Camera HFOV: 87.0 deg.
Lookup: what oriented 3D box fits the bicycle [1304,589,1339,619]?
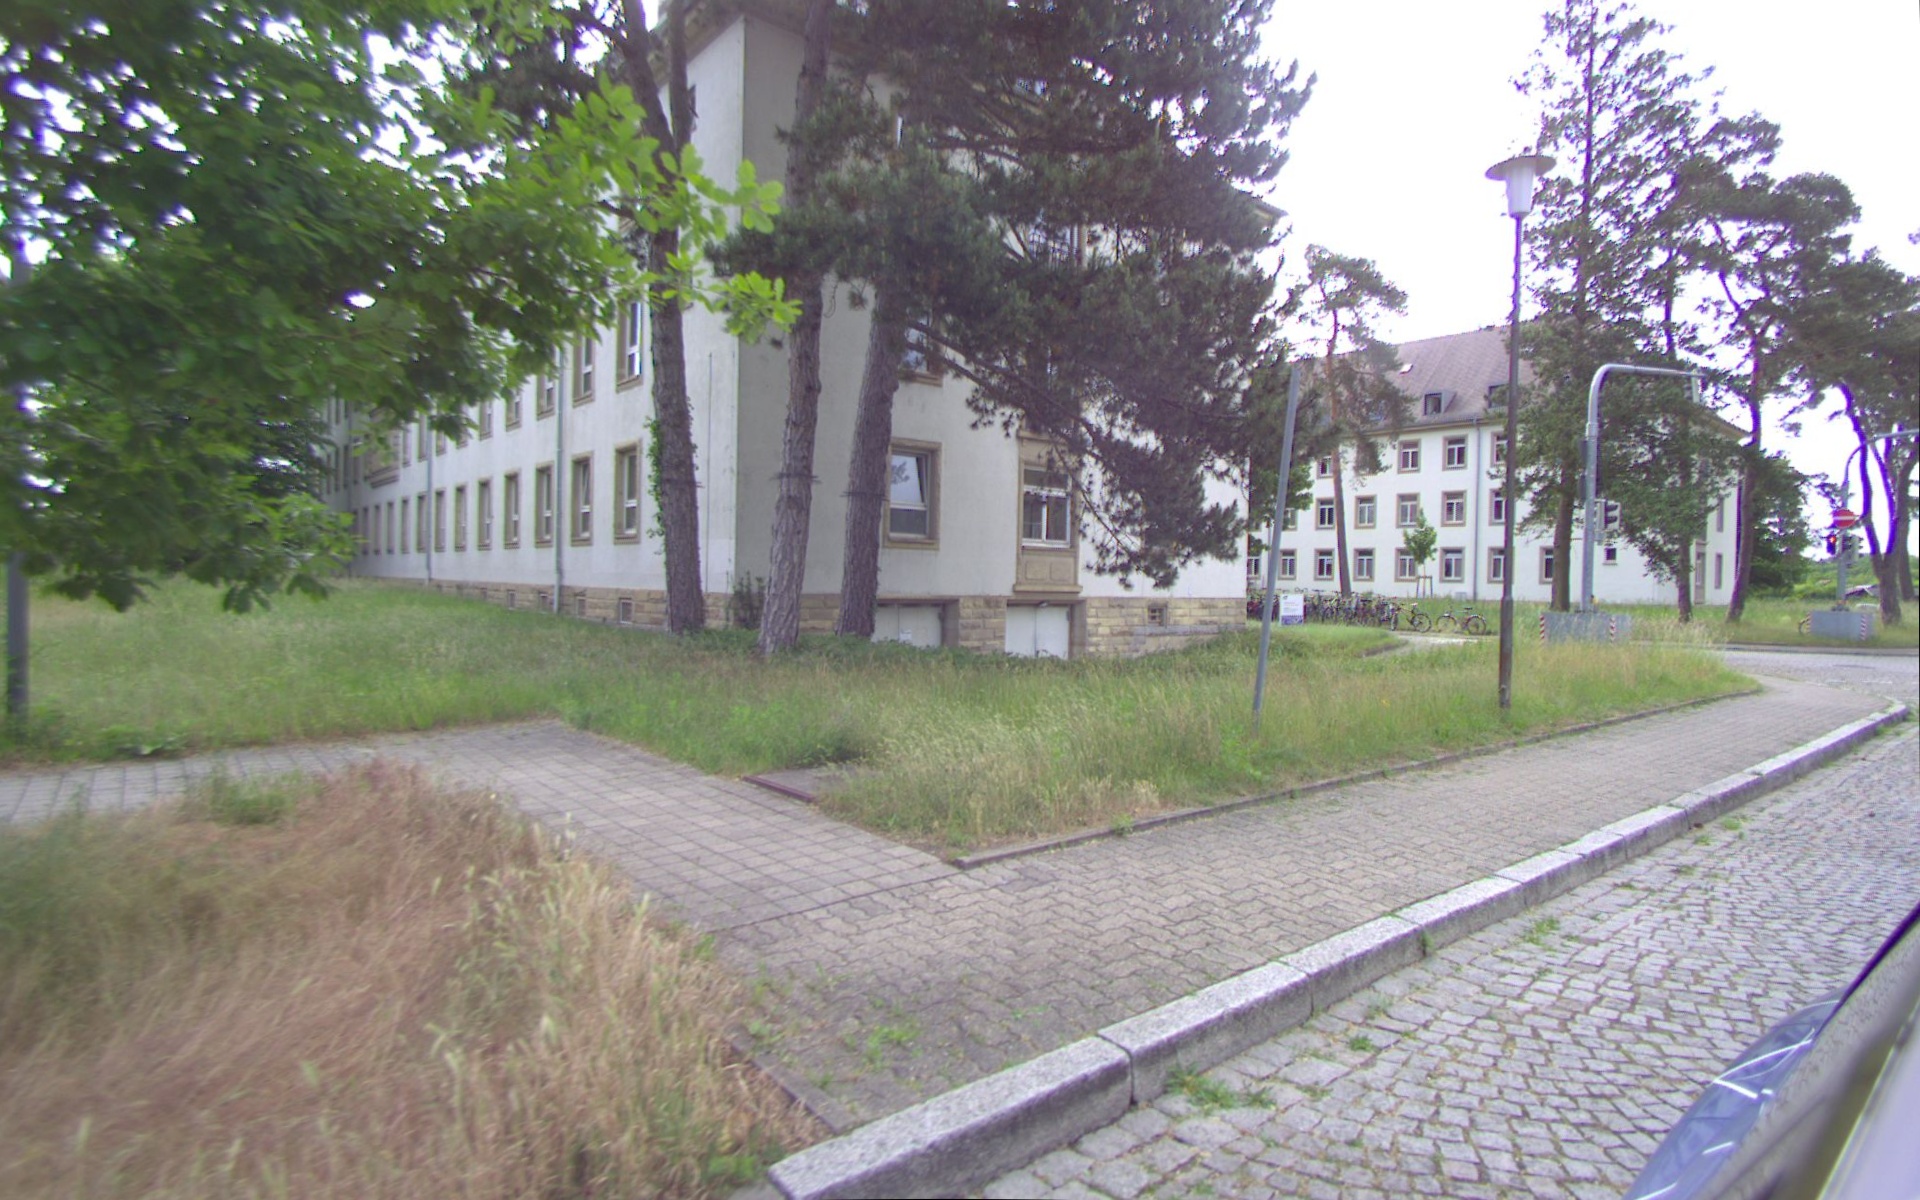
[{"bbox_3d":[14.365,0.148,40.183,1.699,1.142,0.448,0,1,-37],"label":"bicycle"}]

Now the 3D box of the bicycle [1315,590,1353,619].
[{"bbox_3d":[14.682,0.178,39.731,1.697,1.142,0.448,0,1,-32],"label":"bicycle"}]

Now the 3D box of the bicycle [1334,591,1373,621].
[{"bbox_3d":[15.223,0.241,39.153,1.697,1.142,0.448,0,1,-32],"label":"bicycle"}]

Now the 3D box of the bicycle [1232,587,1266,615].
[{"bbox_3d":[12.255,0.048,42.935,1.699,1.142,0.448,0,1,-37],"label":"bicycle"}]

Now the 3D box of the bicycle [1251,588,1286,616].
[{"bbox_3d":[12.867,0.070,42.189,1.699,1.142,0.448,0,1,-37],"label":"bicycle"}]

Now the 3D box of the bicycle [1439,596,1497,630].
[{"bbox_3d":[17.321,0.418,34.547,0.604,1.099,1.653,0,1,-43],"label":"bicycle"}]

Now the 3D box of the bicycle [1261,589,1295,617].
[{"bbox_3d":[13.148,0.108,41.798,1.699,1.142,0.448,0,1,-37],"label":"bicycle"}]

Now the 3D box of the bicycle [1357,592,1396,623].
[{"bbox_3d":[15.775,0.265,38.349,1.669,1.142,0.477,0,1,-32],"label":"bicycle"}]

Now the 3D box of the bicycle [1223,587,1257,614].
[{"bbox_3d":[11.979,0.009,43.274,1.699,1.142,0.448,0,1,-37],"label":"bicycle"}]

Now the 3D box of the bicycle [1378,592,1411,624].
[{"bbox_3d":[16.347,0.294,38.019,1.628,1.142,0.476,0,1,-42],"label":"bicycle"}]

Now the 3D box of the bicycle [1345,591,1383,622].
[{"bbox_3d":[15.478,0.240,38.744,1.668,1.142,0.448,0,1,-32],"label":"bicycle"}]

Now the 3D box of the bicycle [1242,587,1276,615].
[{"bbox_3d":[12.567,0.045,42.542,1.699,1.142,0.448,0,1,-37],"label":"bicycle"}]

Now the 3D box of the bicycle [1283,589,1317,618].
[{"bbox_3d":[13.770,0.130,40.979,1.699,1.142,0.448,0,1,-37],"label":"bicycle"}]

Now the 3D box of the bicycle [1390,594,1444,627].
[{"bbox_3d":[16.131,0.363,35.762,0.603,1.099,1.656,0,1,-38],"label":"bicycle"}]

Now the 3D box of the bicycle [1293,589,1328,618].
[{"bbox_3d":[14.055,0.150,40.589,1.699,1.142,0.448,0,1,-37],"label":"bicycle"}]
